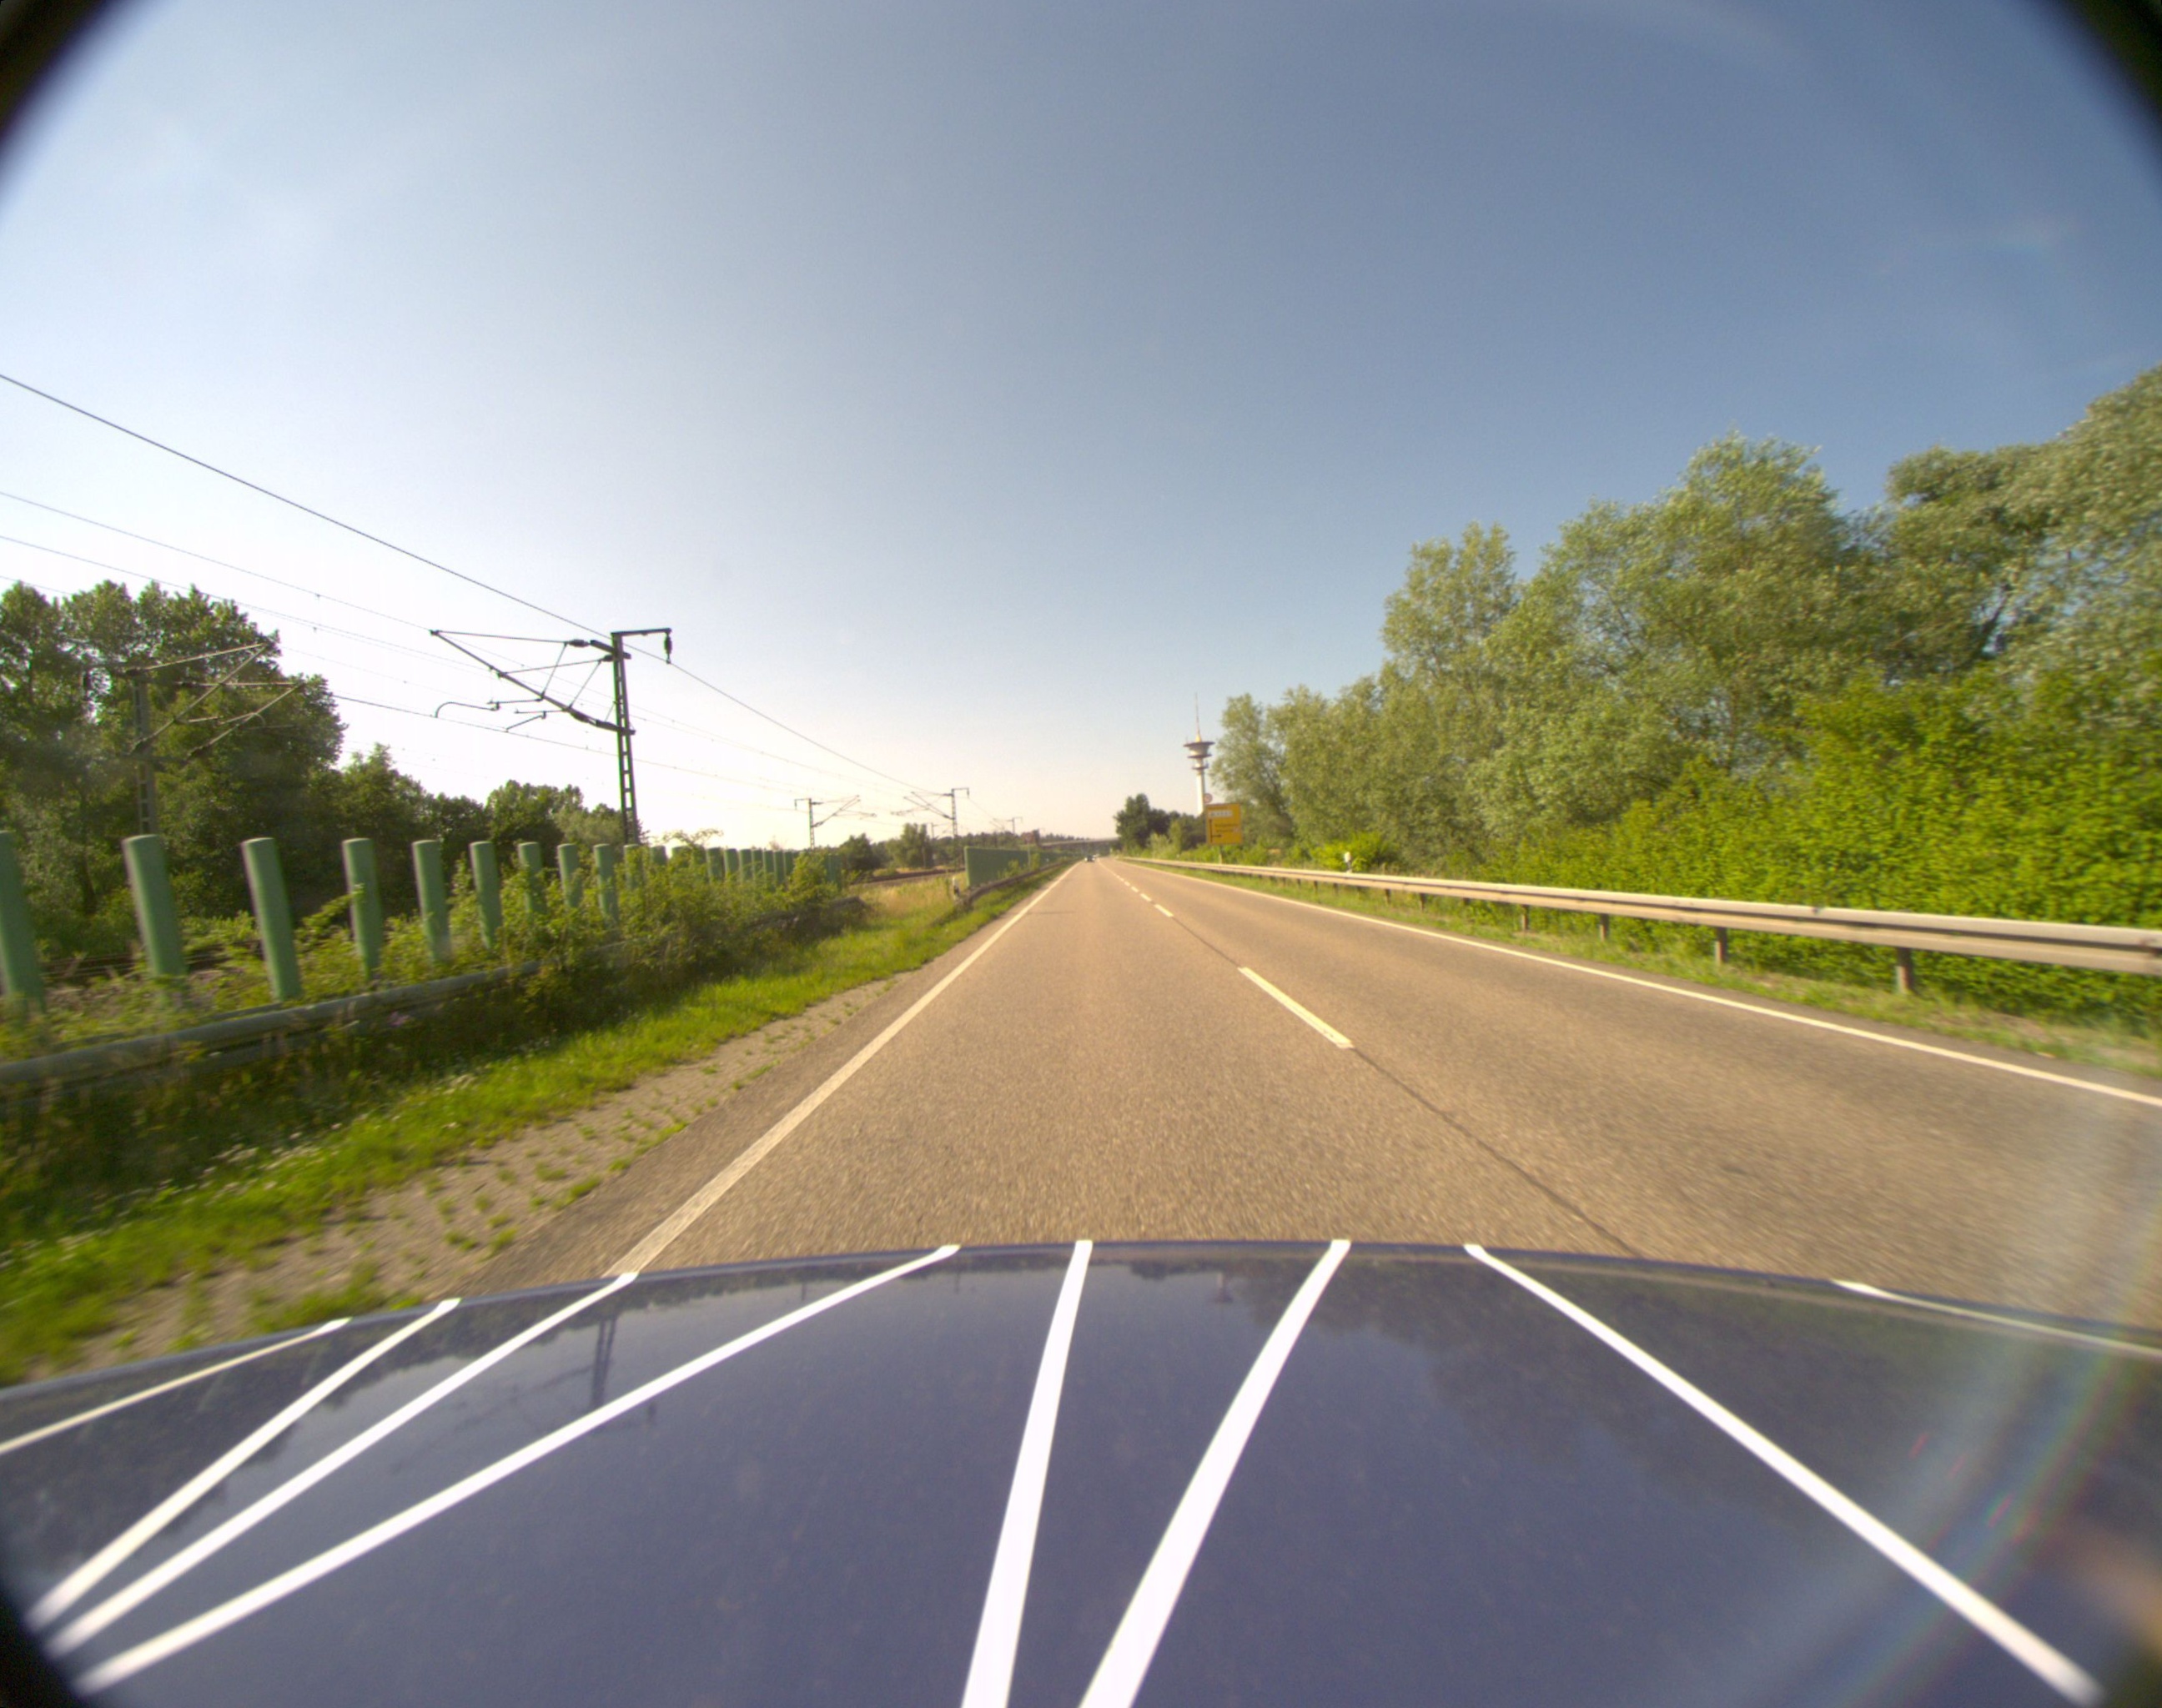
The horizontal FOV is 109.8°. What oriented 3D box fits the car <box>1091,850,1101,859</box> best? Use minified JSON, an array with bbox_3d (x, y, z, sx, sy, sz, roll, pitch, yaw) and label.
[{"bbox_3d":[2.952,0.068,146.110,1.868,1.533,4.076,-2,0,2],"label":"car"}]
